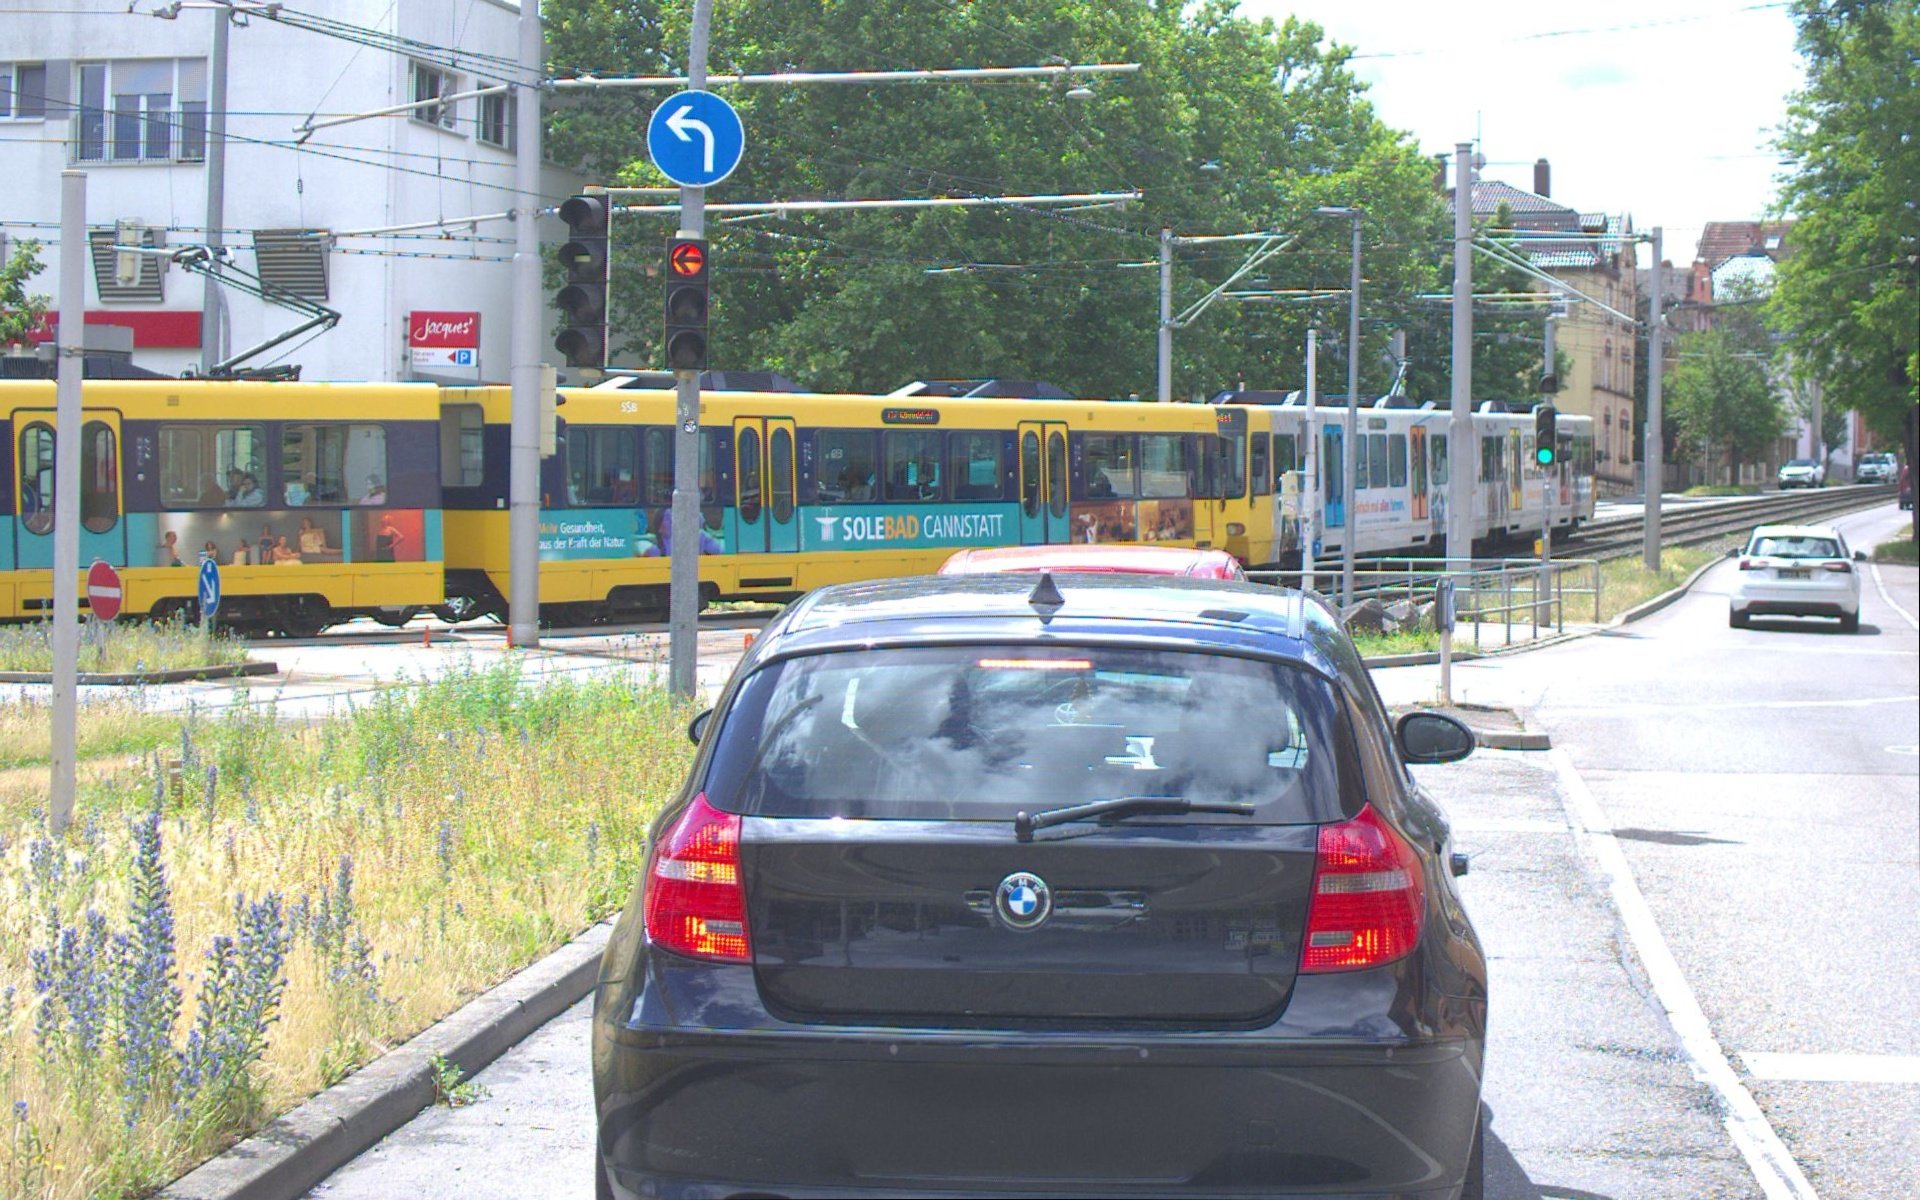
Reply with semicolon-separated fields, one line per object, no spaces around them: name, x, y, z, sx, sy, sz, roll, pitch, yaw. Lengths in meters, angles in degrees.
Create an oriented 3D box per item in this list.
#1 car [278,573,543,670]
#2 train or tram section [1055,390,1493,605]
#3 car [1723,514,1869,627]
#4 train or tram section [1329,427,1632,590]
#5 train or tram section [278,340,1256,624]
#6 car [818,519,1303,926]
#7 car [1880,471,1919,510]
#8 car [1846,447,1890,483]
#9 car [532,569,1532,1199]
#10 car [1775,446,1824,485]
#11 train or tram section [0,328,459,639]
car;-9.431;0.356;59.190;4.158;1.579;1.858;-1;0;-42
train or tram section;7.188;-1.950;72.455;3.753;3.866;20.614;-1;0;21
car;12.191;-0.464;50.305;1.816;1.463;3.998;4;2;11
train or tram section;14.157;-2.250;90.908;3.753;3.801;20.030;-1;0;21
train or tram section;-2.122;-1.695;55.460;3.757;3.816;20.107;-1;0;36
car;0.556;0.436;14.472;1.625;1.468;3.999;-1;0;8
car;37.907;-4.392;137.925;1.816;1.463;3.997;3;2;16
car;54.723;-8.137;207.171;1.996;2.007;3.995;-1;0;23
car;0.087;0.668;7.887;1.701;1.447;4.000;-1;0;-1
car;45.938;-7.348;188.123;1.996;2.007;3.995;-1;0;23
train or tram section;-15.753;-1.422;43.031;18.835;3.905;3.761;-1;0;-33
